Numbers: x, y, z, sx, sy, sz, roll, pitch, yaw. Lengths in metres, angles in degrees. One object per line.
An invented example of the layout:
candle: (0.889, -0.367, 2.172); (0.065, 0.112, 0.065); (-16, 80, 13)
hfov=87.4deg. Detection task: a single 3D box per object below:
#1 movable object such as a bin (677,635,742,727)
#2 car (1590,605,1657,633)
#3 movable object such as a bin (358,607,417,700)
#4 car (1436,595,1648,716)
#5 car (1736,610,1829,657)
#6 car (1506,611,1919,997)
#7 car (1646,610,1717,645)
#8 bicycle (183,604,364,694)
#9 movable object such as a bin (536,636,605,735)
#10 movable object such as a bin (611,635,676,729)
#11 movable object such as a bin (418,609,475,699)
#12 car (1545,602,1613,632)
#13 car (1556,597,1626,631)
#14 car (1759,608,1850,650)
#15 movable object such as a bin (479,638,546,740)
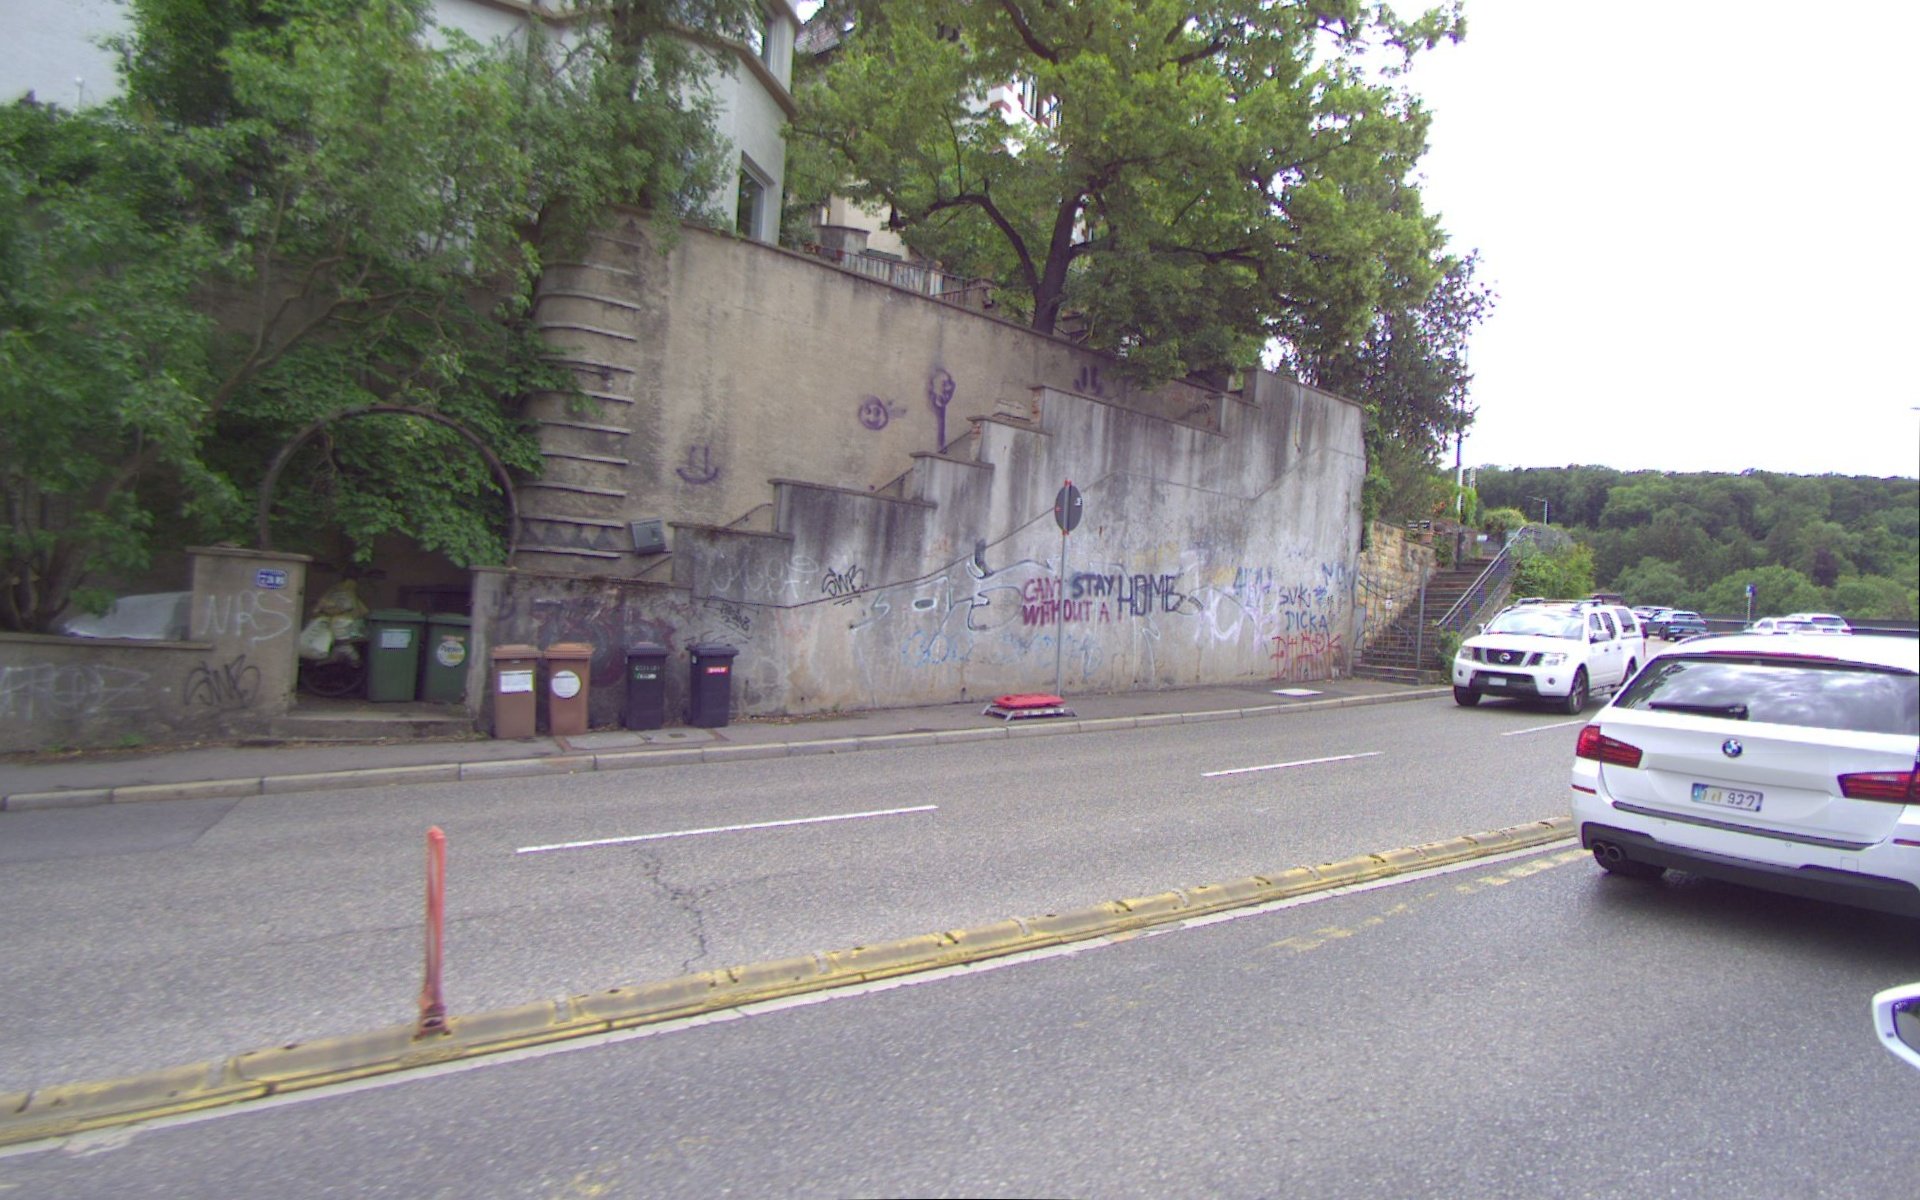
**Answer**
movable object such as a bin: (-2.805, 0.891, 11.241); (0.560, 0.962, 0.540); (1, 2, -31)
car: (41.660, 1.188, 63.151); (1.667, 1.546, 3.533); (2, 1, -4)
movable object such as a bin: (-6.742, 0.617, 11.826); (0.574, 1.038, 0.604); (1, 2, -30)
car: (10.479, 0.876, 17.878); (5.270, 1.853, 1.892); (1, 0, -44)
car: (32.634, 1.286, 39.975); (1.877, 1.595, 3.996); (3, 1, 25)
car: (5.498, 0.872, 6.056); (4.828, 1.486, 1.836); (1, 2, -34)
car: (36.912, 1.354, 51.517); (1.961, 1.561, 4.009); (2, 1, 21)
bicycle: (-7.792, 0.565, 11.493); (1.598, 0.856, 0.632); (5, 3, -29)
movable object such as a bin: (-4.093, 0.883, 10.550); (0.574, 0.962, 0.604); (1, 2, -30)
movable object such as a bin: (-3.457, 0.880, 10.967); (0.560, 0.962, 0.540); (1, 2, -31)
movable object such as a bin: (-6.227, 0.640, 12.169); (0.574, 1.035, 0.604); (1, 2, -30)
car: (39.305, 1.064, 63.904); (1.785, 1.712, 3.999); (2, 1, 0)
car: (46.298, 1.002, 73.854); (2.041, 2.223, 4.732); (2, 1, 0)
car: (37.275, 1.234, 44.453); (1.962, 1.607, 3.997); (3, 1, 24)
movable object such as a bin: (-4.572, 0.885, 10.255); (0.550, 0.962, 0.604); (1, 2, -30)
